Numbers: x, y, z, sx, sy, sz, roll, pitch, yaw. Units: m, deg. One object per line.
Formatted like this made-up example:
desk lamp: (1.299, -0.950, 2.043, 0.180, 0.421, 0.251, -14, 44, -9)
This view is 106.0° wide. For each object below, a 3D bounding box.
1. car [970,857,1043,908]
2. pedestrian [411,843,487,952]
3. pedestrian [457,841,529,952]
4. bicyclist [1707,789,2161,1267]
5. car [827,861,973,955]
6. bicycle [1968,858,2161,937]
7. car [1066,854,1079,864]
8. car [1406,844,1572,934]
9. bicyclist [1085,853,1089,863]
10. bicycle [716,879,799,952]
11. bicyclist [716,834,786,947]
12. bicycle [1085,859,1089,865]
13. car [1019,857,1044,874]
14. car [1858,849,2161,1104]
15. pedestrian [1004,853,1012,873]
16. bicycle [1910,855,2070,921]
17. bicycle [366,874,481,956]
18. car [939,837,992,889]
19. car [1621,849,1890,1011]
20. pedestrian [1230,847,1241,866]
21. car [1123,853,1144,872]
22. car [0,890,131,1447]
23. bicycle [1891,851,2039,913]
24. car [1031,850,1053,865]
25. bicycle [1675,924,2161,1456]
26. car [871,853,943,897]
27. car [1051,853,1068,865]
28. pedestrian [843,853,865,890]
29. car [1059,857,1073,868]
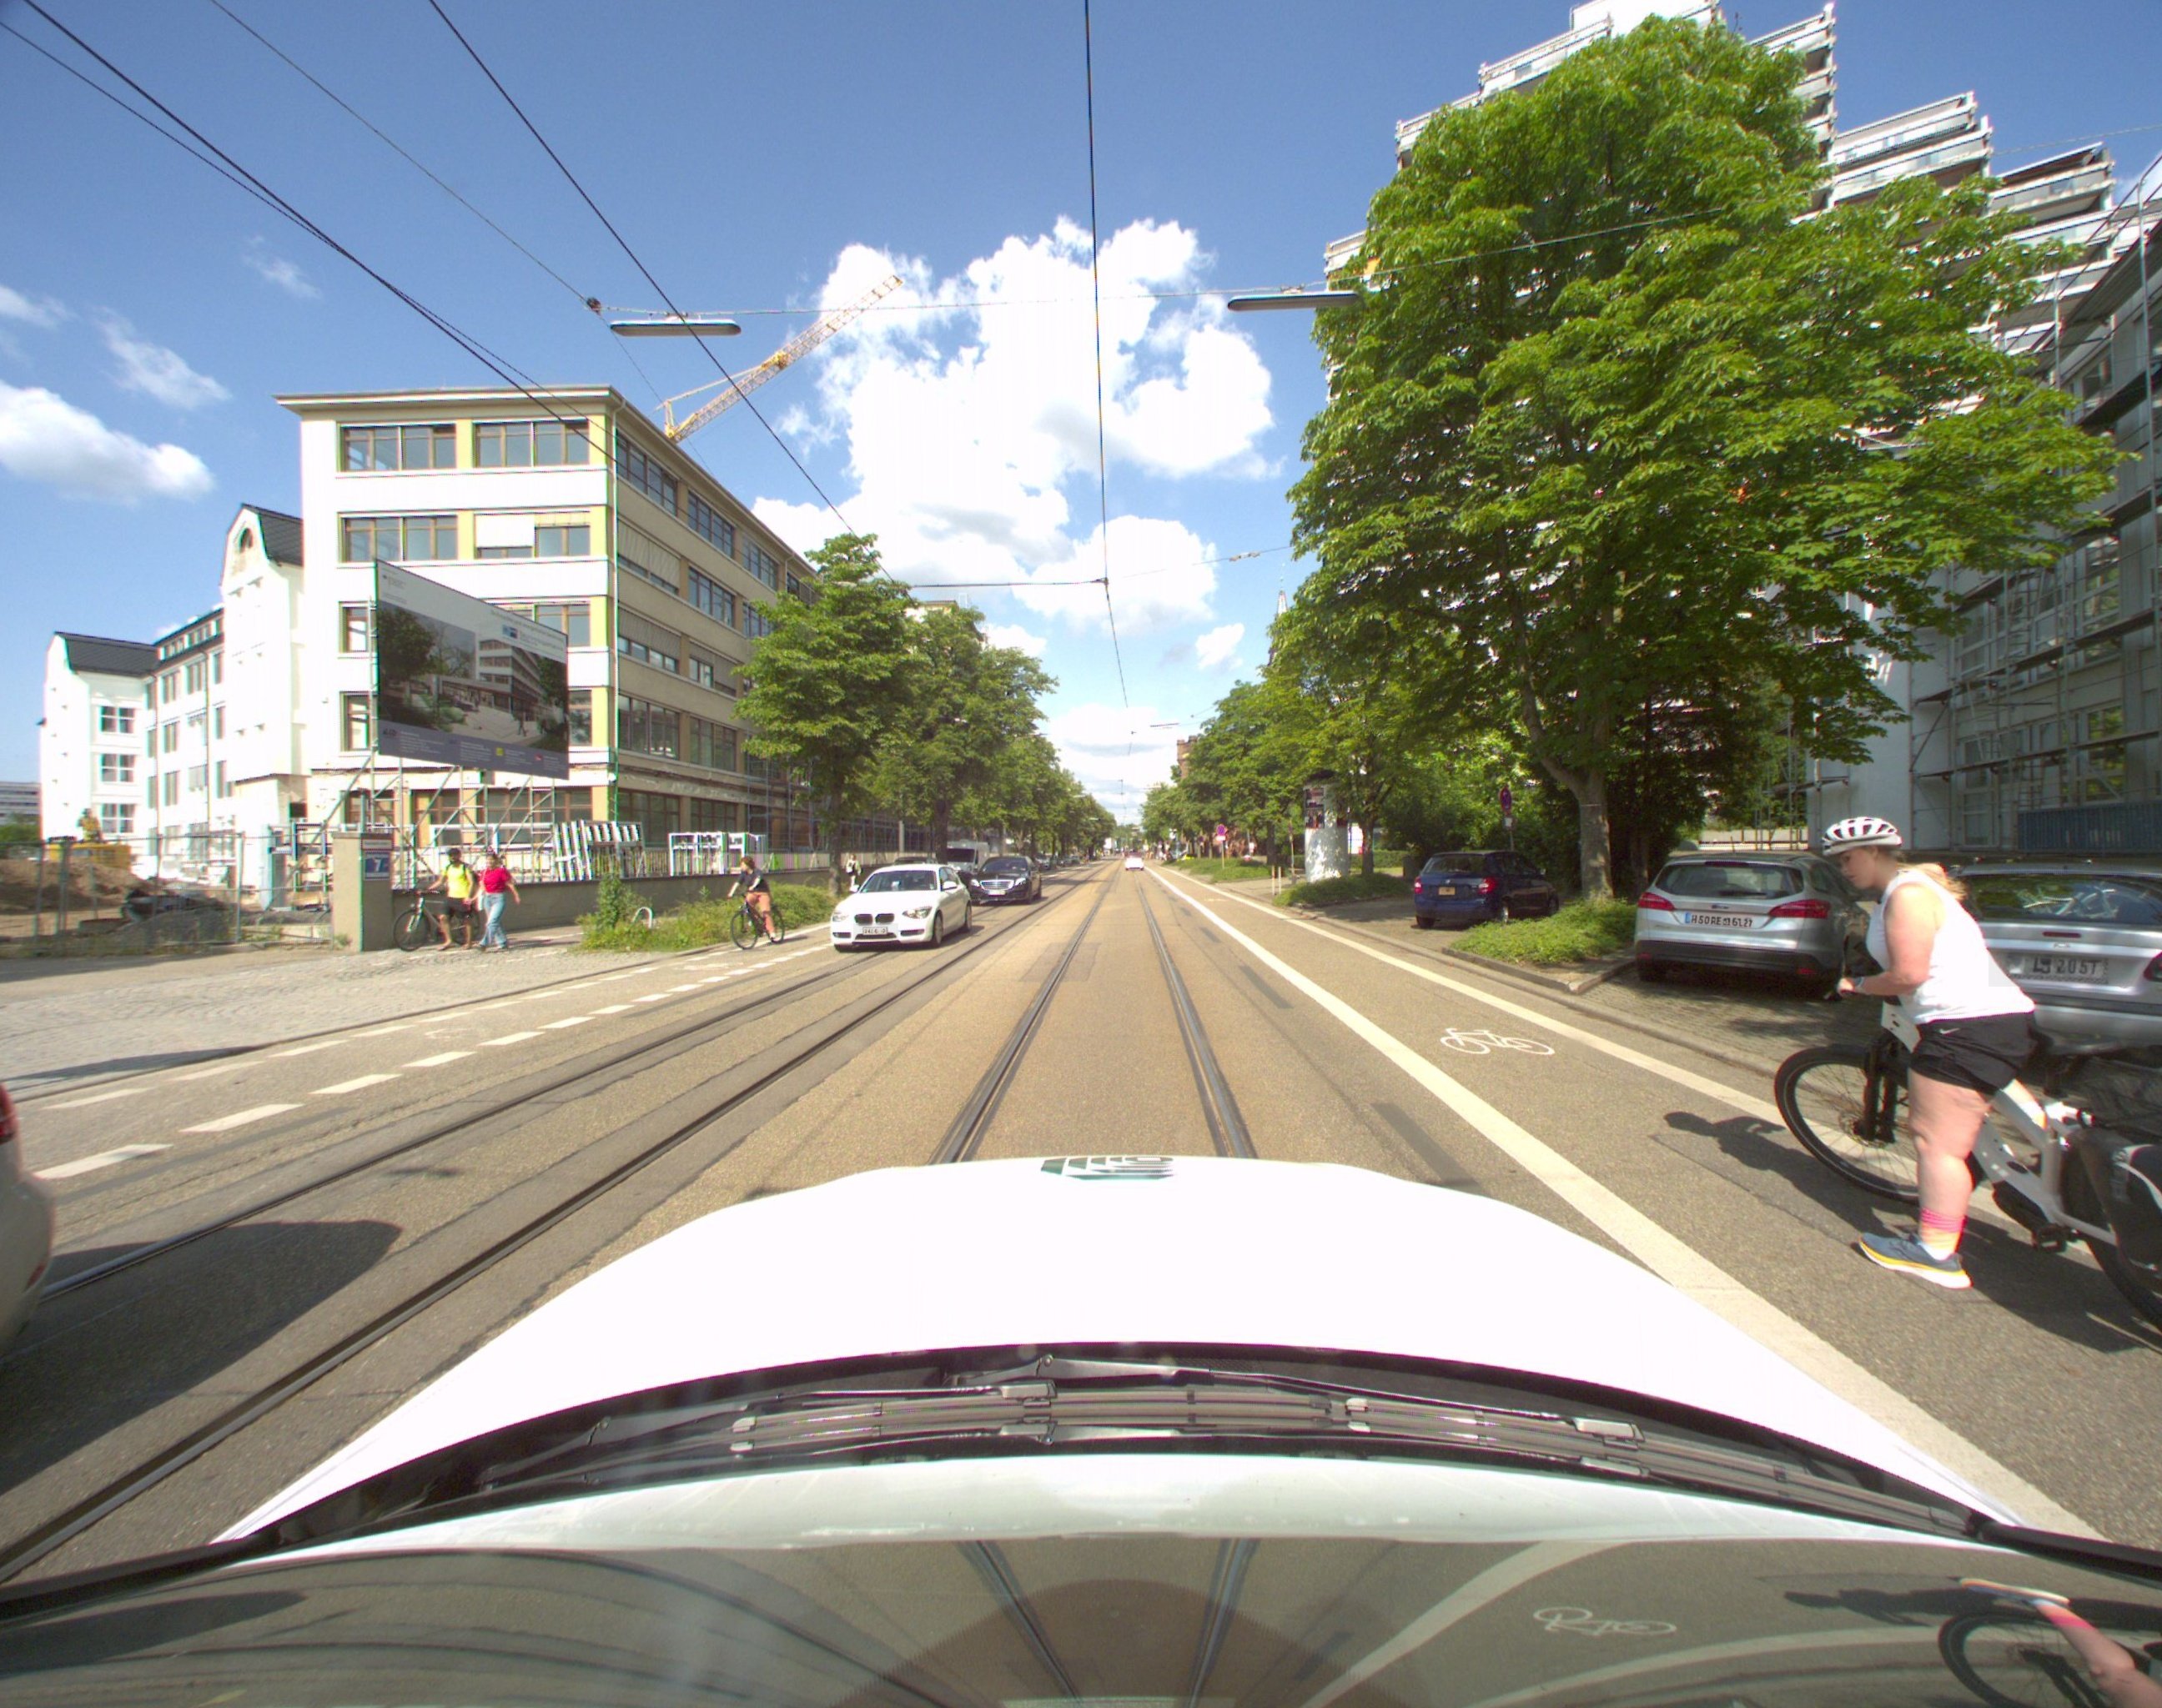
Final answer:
car: (-2.329, 0.855, 26.541, 1.793, 1.508, 4.538, 0, 0, 2)
pedestrian: (-10.807, 0.735, 13.951, 0.705, 1.793, 0.661, 2, -1, -3)
pedestrian: (-10.073, 0.711, 13.964, 0.705, 1.831, 0.661, 2, 1, -3)
bicyclist: (3.263, 0.555, 3.183, 0.884, 1.529, 1.088, 1, 0, 9)
car: (-3.148, 0.878, 15.009, 1.681, 1.405, 4.226, -3, 0, 0)
bicycle: (14.730, 0.642, 12.248, 1.809, 1.095, 0.454, -2, 2, 34)
car: (-1.309, 0.772, 130.529, 1.797, 1.516, 4.106, -1, 0, 3)
car: (8.137, 0.606, 16.091, 4.023, 1.486, 1.596, -2, 0, -43)
bicyclist: (1.036, 0.708, 138.629, 0.656, 1.579, 0.946, 1, 0, 1)
bicycle: (-6.019, 1.110, 15.265, 0.641, 1.166, 1.945, -4, 0, 2)
bicyclist: (-6.157, 0.666, 15.237, 0.873, 2.014, 0.834, -3, -1, 1)
bicycle: (1.084, 1.348, 138.564, 0.616, 0.973, 1.718, -1, 0, 3)
car: (-4.432, 1.023, 73.903, 1.797, 1.516, 4.106, 1, 0, 3)
car: (7.698, 0.699, 6.268, 4.261, 1.420, 1.705, -1, 1, -35)
pedestrian: (-7.537, 0.933, 83.810, 0.802, 2.013, 0.484, -1, 0, -6)
bicycle: (15.885, 0.574, 14.294, 1.809, 1.096, 0.454, -1, 1, 34)
bicycle: (-11.256, 1.008, 14.013, 0.444, 1.286, 1.741, -1, 0, 5)
car: (-6.134, 0.474, 43.833, 1.762, 2.639, 5.326, 1, 0, 3)
car: (7.859, 0.697, 9.378, 3.824, 1.474, 1.634, 0, 1, -39)
pedestrian: (16.471, 0.251, 86.971, 0.973, 2.014, 1.094, 1, 0, 2)
car: (4.583, 0.710, 71.889, 1.659, 1.624, 3.621, -1, 0, 1)
car: (-3.743, 0.834, 0.469, 1.766, 1.416, 3.854, -2, 0, 2)
bicycle: (16.540, 0.514, 15.300, 1.809, 1.096, 0.454, -1, 0, 34)
car: (-4.022, 0.380, 84.158, 1.797, 1.516, 4.106, -1, 0, 3)
bicycle: (3.256, 0.916, 2.977, 0.869, 1.126, 2.141, 0, 0, 9)
car: (-6.999, 0.815, 33.177, 1.797, 1.662, 4.106, 1, 0, 3)
car: (-2.796, 0.629, 106.478, 1.797, 1.516, 4.106, -1, 0, 3)
pedestrian: (-10.097, 0.765, 36.216, 0.761, 1.620, 0.594, 1, -1, 3)
car: (-2.139, 1.212, 119.050, 1.797, 1.516, 4.106, 1, 0, 3)
